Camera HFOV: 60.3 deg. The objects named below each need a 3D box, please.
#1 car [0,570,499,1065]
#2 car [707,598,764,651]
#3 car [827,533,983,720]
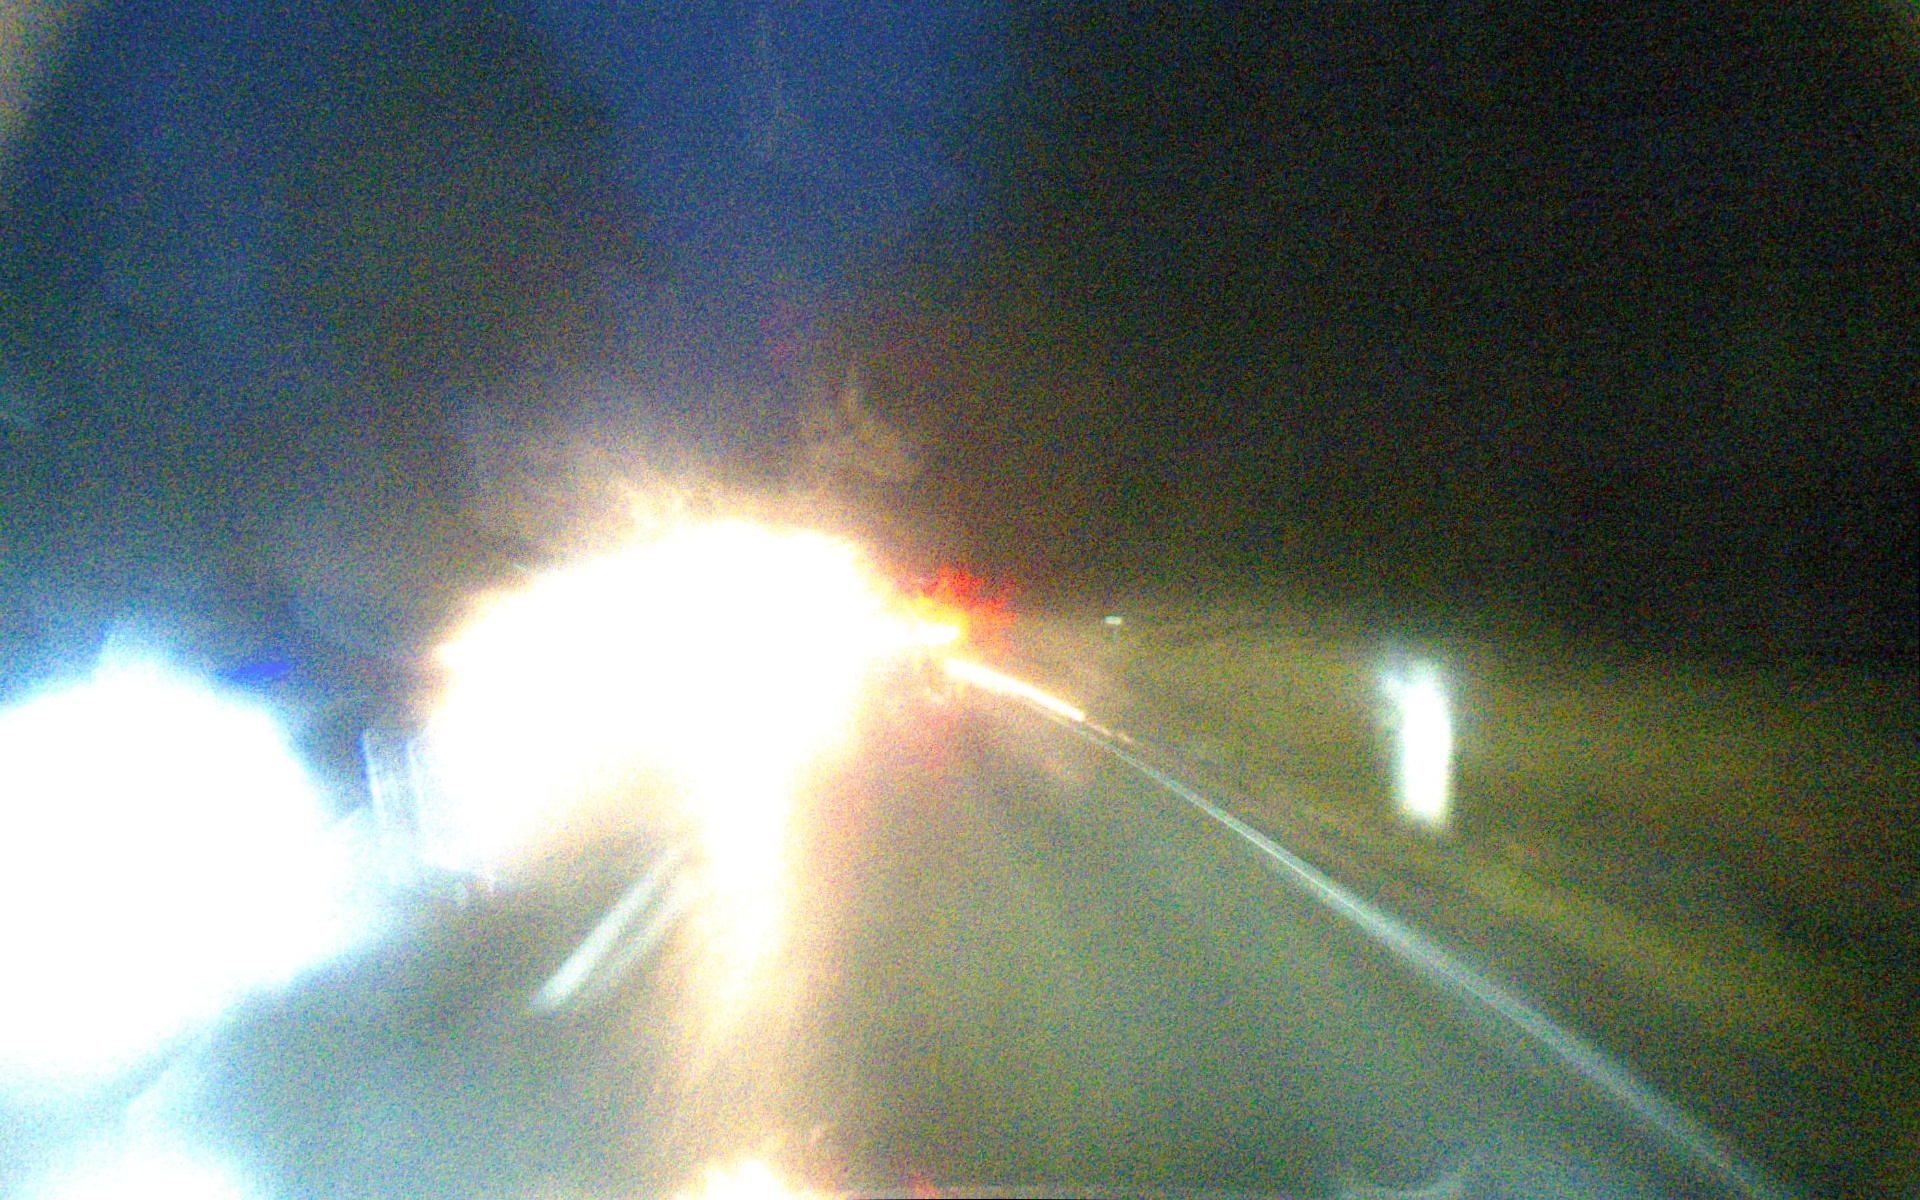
[{"bbox_3d":[-3.177,0.670,7.011,1.563,1.536,3.598,-2,1,-3],"label":"car"},{"bbox_3d":[-7.120,0.748,52.690,1.532,1.551,3.483,-2,1,-4],"label":"car"},{"bbox_3d":[-0.929,0.371,26.225,2.138,2.602,4.505,3,0,-4],"label":"car"}]
